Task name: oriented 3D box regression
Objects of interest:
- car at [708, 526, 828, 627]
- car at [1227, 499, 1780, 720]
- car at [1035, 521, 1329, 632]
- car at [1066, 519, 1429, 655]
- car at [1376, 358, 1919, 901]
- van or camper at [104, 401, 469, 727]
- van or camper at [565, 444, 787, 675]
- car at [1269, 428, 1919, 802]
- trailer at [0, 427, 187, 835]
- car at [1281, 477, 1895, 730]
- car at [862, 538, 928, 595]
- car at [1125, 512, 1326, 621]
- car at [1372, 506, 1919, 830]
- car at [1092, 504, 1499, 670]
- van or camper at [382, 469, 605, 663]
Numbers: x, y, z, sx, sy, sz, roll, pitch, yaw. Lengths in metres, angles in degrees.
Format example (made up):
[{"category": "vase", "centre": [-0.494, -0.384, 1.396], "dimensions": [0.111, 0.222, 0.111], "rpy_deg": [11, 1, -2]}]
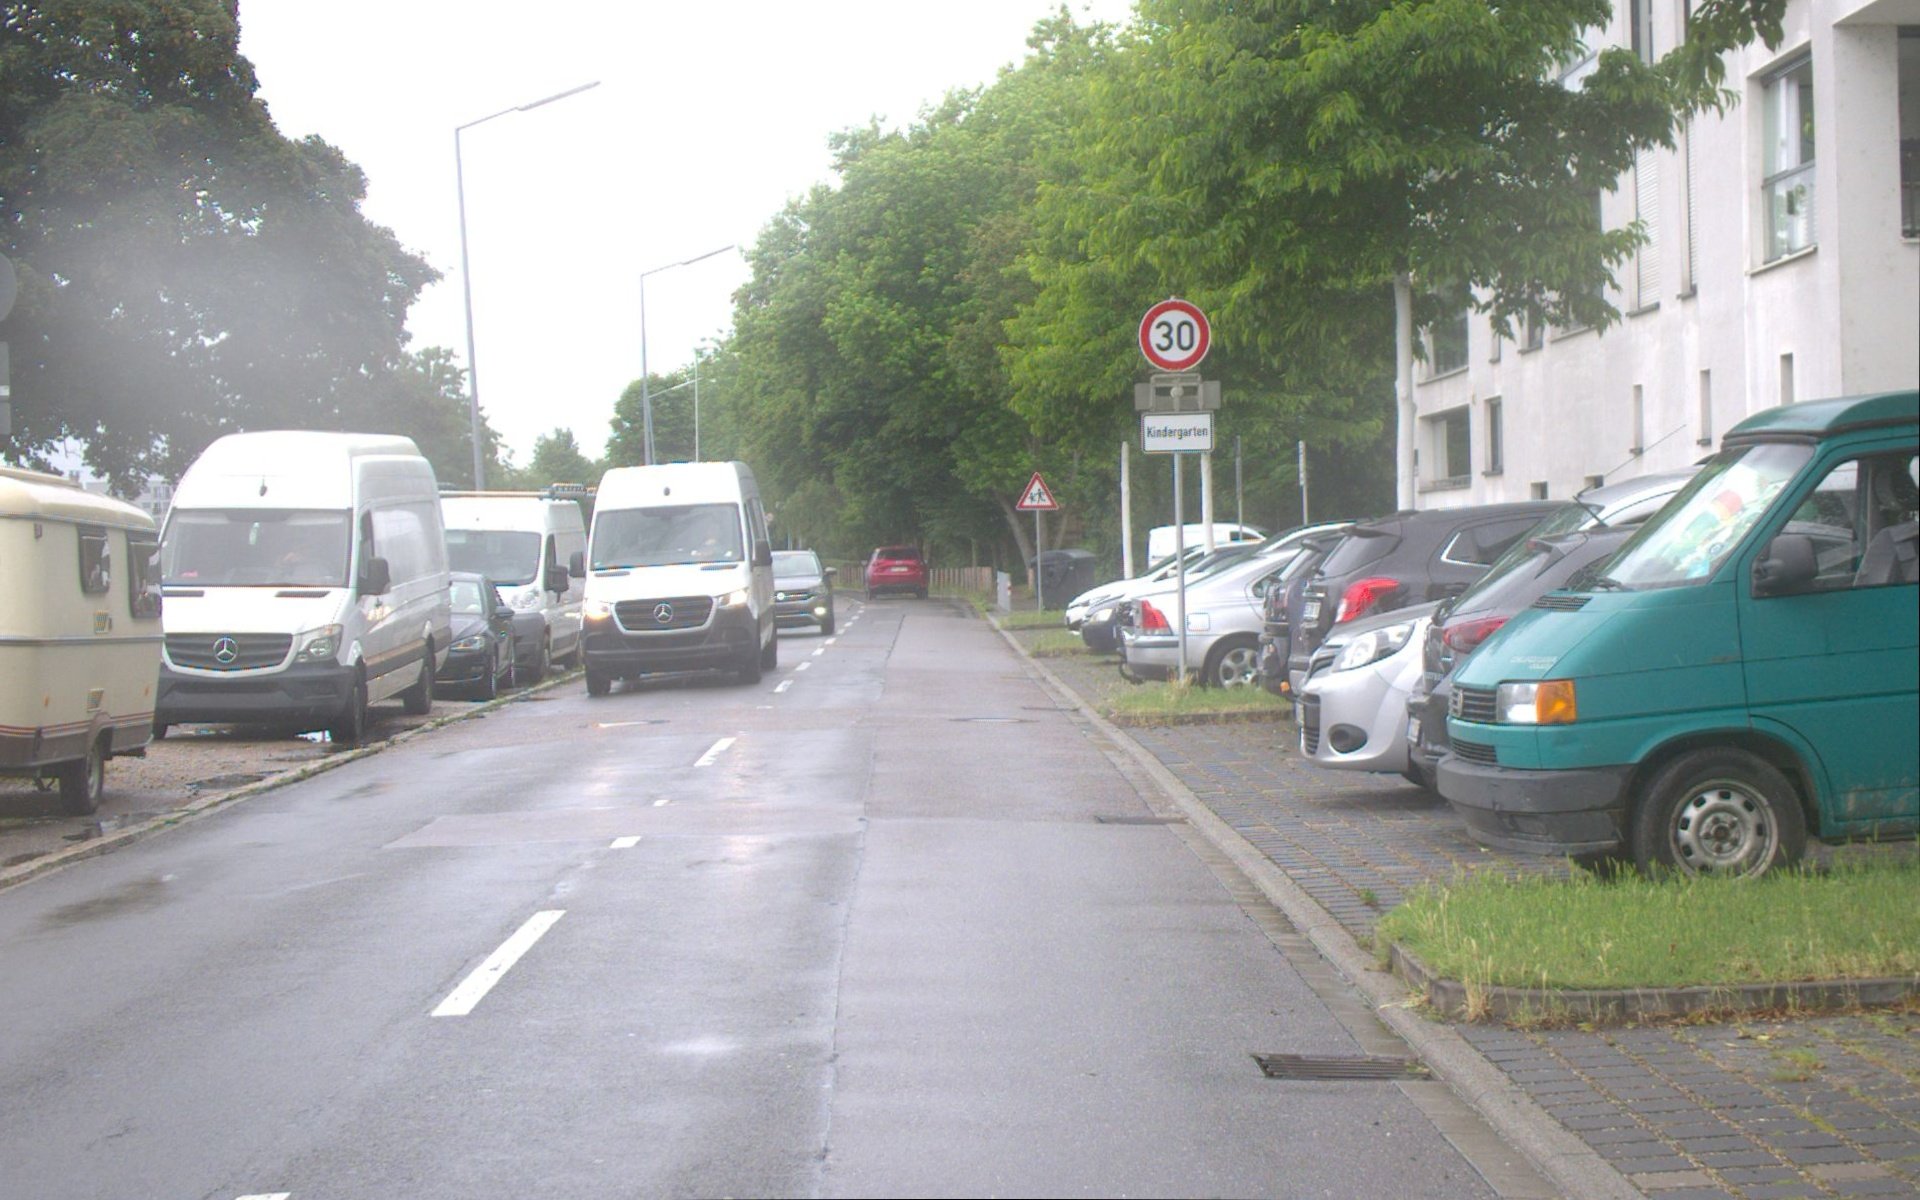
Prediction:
[{"category": "car", "centre": [-3.443, -0.444, 62.389], "dimensions": [1.881, 1.751, 4.068], "rpy_deg": [-1, 1, 1]}, {"category": "car", "centre": [4.164, 0.053, 26.712], "dimensions": [3.882, 1.595, 1.864], "rpy_deg": [-1, 1, -6]}, {"category": "car", "centre": [3.299, -0.366, 51.468], "dimensions": [4.091, 1.569, 1.868], "rpy_deg": [-1, 1, -7]}, {"category": "car", "centre": [3.595, -0.176, 43.613], "dimensions": [4.387, 1.628, 2.005], "rpy_deg": [-1, 1, -1]}, {"category": "car", "centre": [4.168, 0.069, 13.958], "dimensions": [4.617, 2.012, 1.858], "rpy_deg": [-1, 1, -5]}, {"category": "van or camper", "centre": [-6.309, -0.359, 33.284], "dimensions": [1.993, 2.752, 7.898], "rpy_deg": [1, 1, 0]}, {"category": "van or camper", "centre": [-3.301, -0.503, 41.340], "dimensions": [1.993, 2.488, 7.178], "rpy_deg": [-2, 1, 0]}, {"category": "car", "centre": [3.866, 0.051, 19.140], "dimensions": [4.093, 1.888, 1.726], "rpy_deg": [-2, 1, 1]}, {"category": "trailer", "centre": [-6.320, 0.112, 21.044], "dimensions": [2.058, 2.210, 5.795], "rpy_deg": [1, 1, -2]}, {"category": "car", "centre": [4.353, -0.003, 24.188], "dimensions": [3.882, 1.675, 1.864], "rpy_deg": [-1, 1, -6]}, {"category": "car", "centre": [-2.000, -1.044, 106.773], "dimensions": [1.756, 1.700, 4.000], "rpy_deg": [-1, 1, 2]}, {"category": "car", "centre": [5.749, -0.737, 74.300], "dimensions": [3.991, 2.285, 1.775], "rpy_deg": [1, 1, 20]}, {"category": "car", "centre": [3.726, 0.298, 16.656], "dimensions": [3.254, 1.477, 1.317], "rpy_deg": [-1, 1, -2]}, {"category": "car", "centre": [3.759, -0.163, 39.110], "dimensions": [4.387, 1.770, 2.005], "rpy_deg": [-1, 1, -1]}, {"category": "van or camper", "centre": [-6.287, -0.481, 47.084], "dimensions": [2.189, 2.453, 6.377], "rpy_deg": [1, 1, 0]}]
